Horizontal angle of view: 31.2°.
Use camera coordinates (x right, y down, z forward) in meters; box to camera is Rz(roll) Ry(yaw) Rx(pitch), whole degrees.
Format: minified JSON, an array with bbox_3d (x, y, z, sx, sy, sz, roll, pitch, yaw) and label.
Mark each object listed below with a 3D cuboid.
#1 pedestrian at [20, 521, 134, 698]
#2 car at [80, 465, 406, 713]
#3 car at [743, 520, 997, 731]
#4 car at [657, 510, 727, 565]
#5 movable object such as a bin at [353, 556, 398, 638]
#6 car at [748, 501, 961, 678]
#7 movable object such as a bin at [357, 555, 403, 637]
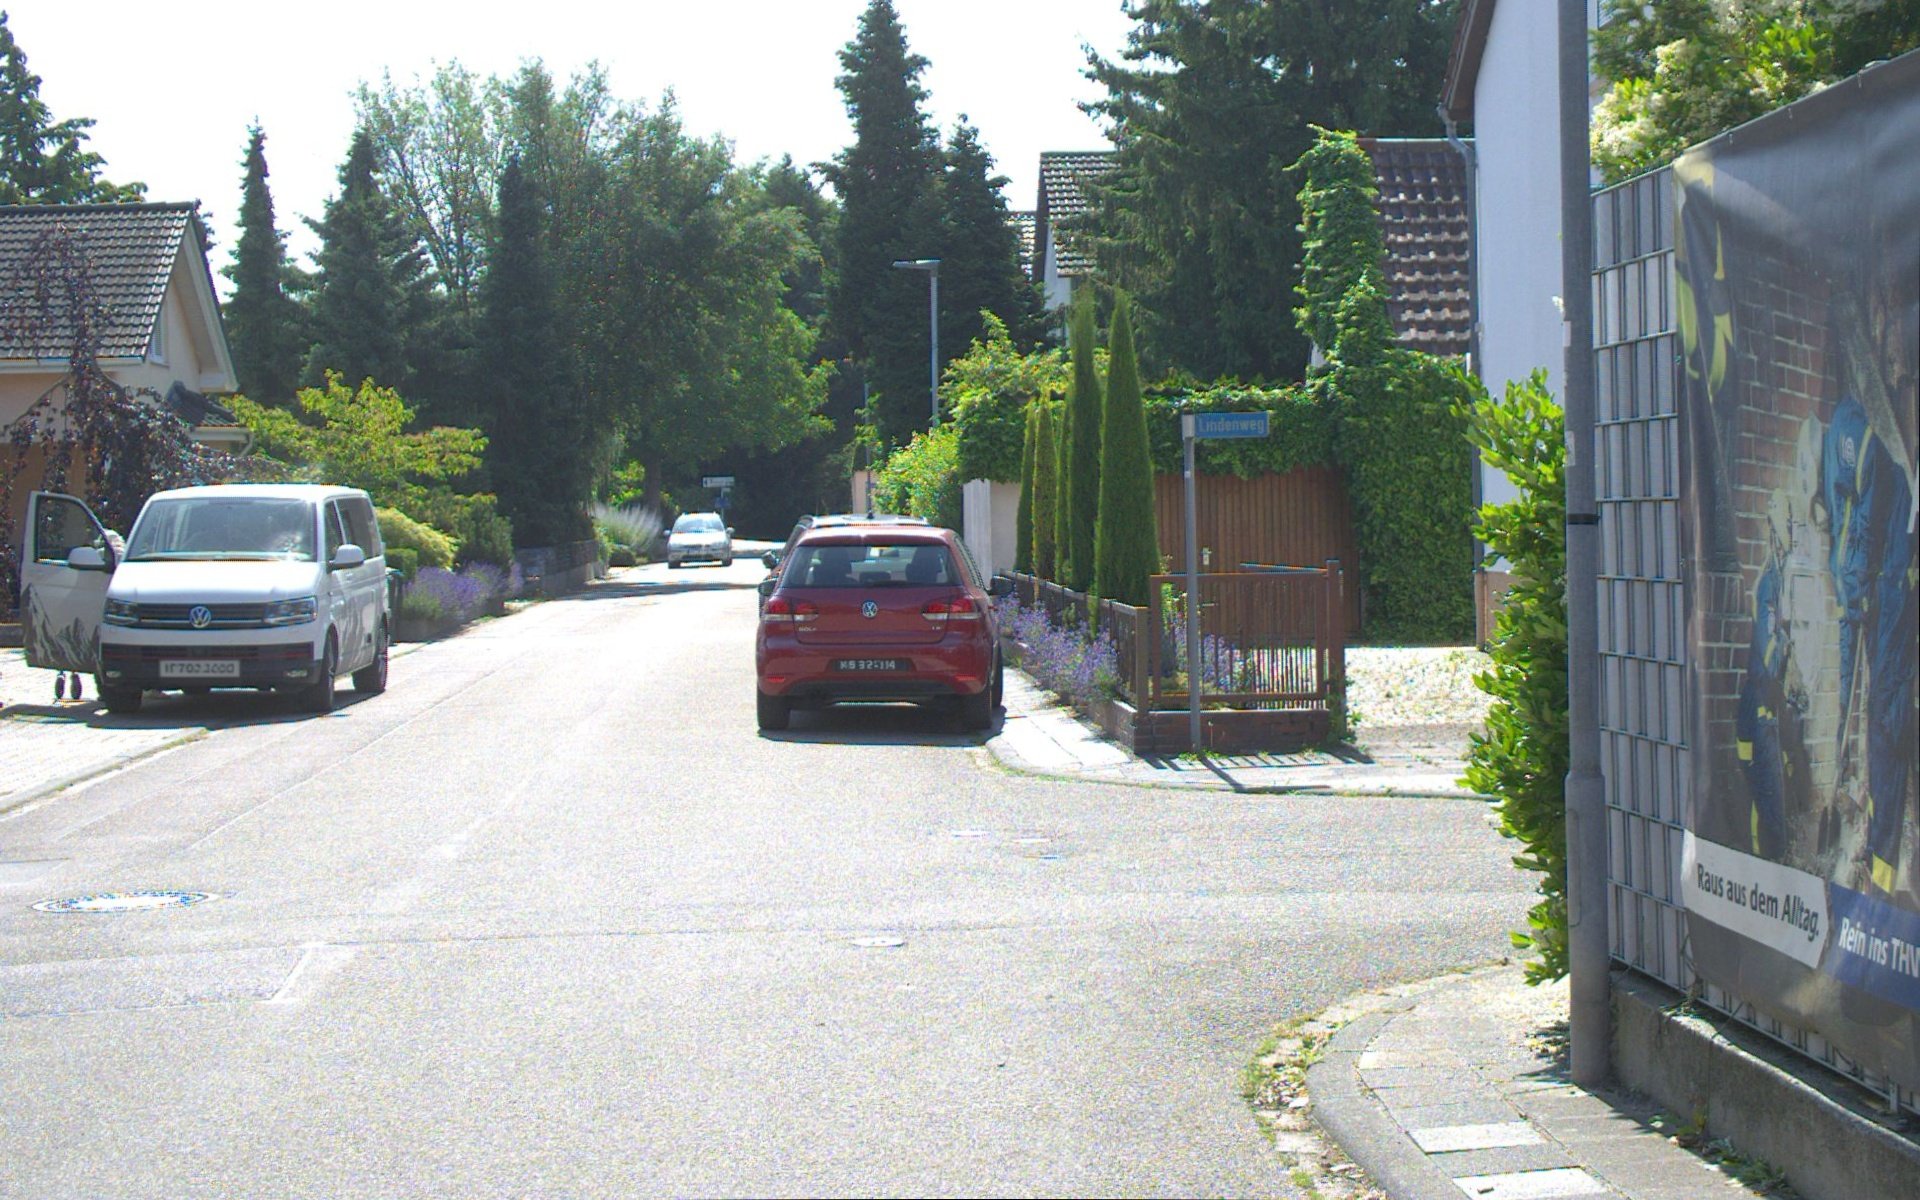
[{"bbox_3d":[-7.854,0.074,30.577,0.718,1.533,0.641,1,2,31],"label":"pedestrian"},{"bbox_3d":[-6.259,-0.149,30.575,1.929,2.007,4.896,-1,1,-1],"label":"car"},{"bbox_3d":[-0.619,0.135,26.422,1.775,1.474,4.000,1,1,1],"label":"car"},{"bbox_3d":[-7.490,-1.762,96.375,1.752,1.482,4.376,-1,1,-2],"label":"car"},{"bbox_3d":[-7.433,-0.036,43.725,0.494,1.021,0.447,-1,2,-2],"label":"movable object such as a bin"},{"bbox_3d":[-1.084,-0.147,33.267,1.822,1.610,4.001,0,1,-5],"label":"car"},{"bbox_3d":[-7.453,-0.055,44.187,0.494,1.021,0.447,-1,2,-2],"label":"movable object such as a bin"}]
